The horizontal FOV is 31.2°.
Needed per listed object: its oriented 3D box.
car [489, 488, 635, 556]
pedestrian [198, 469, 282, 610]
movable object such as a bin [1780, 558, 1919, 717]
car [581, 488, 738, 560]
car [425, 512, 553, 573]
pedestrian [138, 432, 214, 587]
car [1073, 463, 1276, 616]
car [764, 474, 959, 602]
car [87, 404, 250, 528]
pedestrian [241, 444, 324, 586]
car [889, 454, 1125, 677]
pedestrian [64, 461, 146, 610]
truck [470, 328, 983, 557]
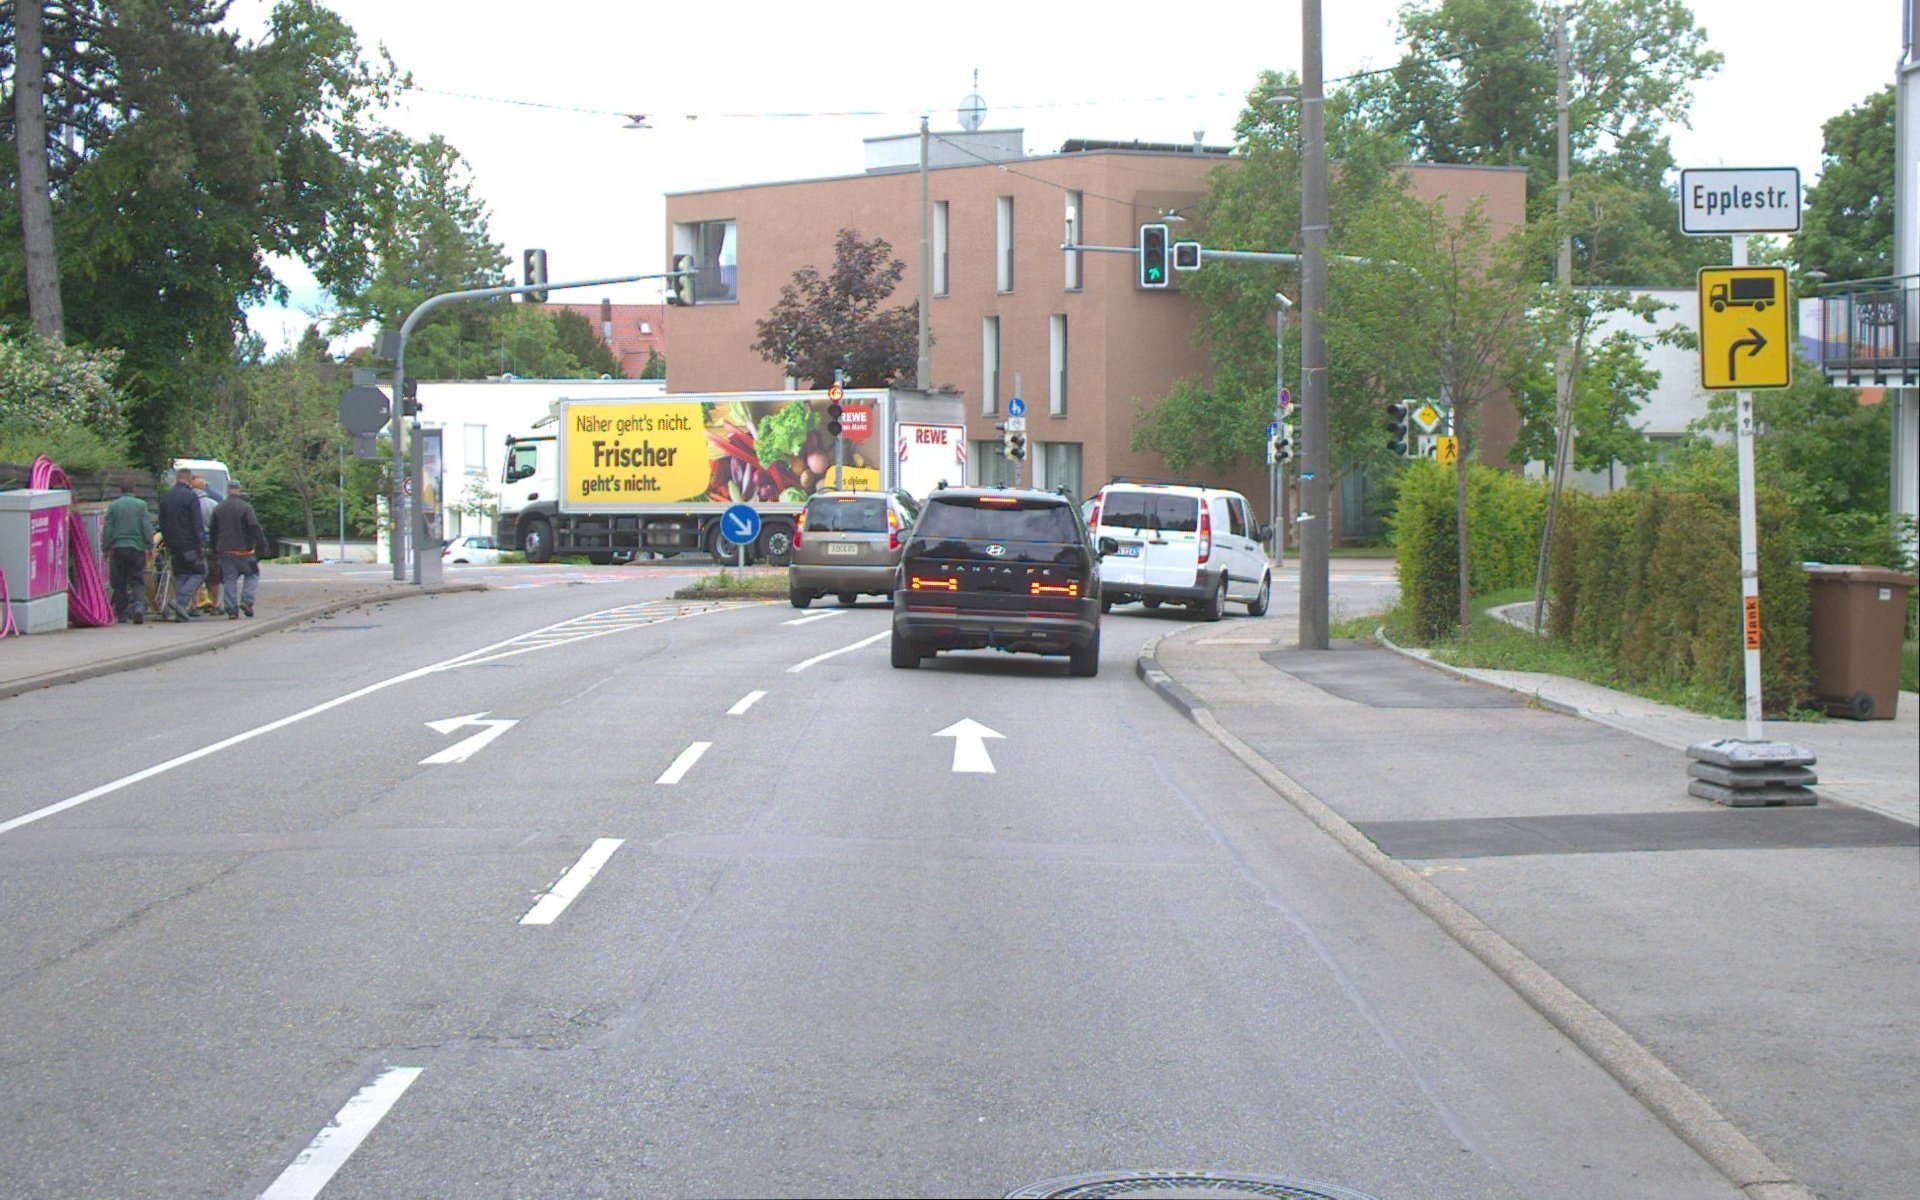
[{"bbox_3d":[-12.182,-2.395,105.174,3.986,2.006,2.000,-1,2,-28],"label":"car"},{"bbox_3d":[-8.913,-0.752,42.573,0.695,1.728,0.750,2,2,44],"label":"pedestrian"},{"bbox_3d":[6.226,0.258,23.901,0.714,1.070,0.682,2,1,-37],"label":"movable object such as a bin"},{"bbox_3d":[-8.591,-2.173,98.157,3.986,2.006,2.000,0,2,-28],"label":"car"},{"bbox_3d":[-15.798,-1.923,115.331,3.986,2.006,2.001,0,2,-16],"label":"car"},{"bbox_3d":[-9.418,-1.087,41.292,0.750,1.831,0.615,0,2,-29],"label":"pedestrian"},{"bbox_3d":[3.182,-0.934,50.167,1.963,2.006,4.425,4,3,16],"label":"car"},{"bbox_3d":[-1.326,-0.891,47.996,1.894,1.700,3.998,1,2,11],"label":"car"},{"bbox_3d":[-15.117,-2.529,65.392,2.280,2.220,6.474,0,2,-20],"label":"car"},{"bbox_3d":[-8.446,-1.056,42.834,0.869,1.747,0.694,0,2,-24],"label":"pedestrian"},{"bbox_3d":[0.396,-0.365,32.481,1.993,1.875,4.000,3,2,-1],"label":"car"},{"bbox_3d":[-10.206,-0.776,41.029,0.815,1.757,0.868,0,2,-23],"label":"pedestrian"},{"bbox_3d":[-5.289,-3.464,75.568,11.779,4.718,3.129,2,2,34],"label":"truck"}]
